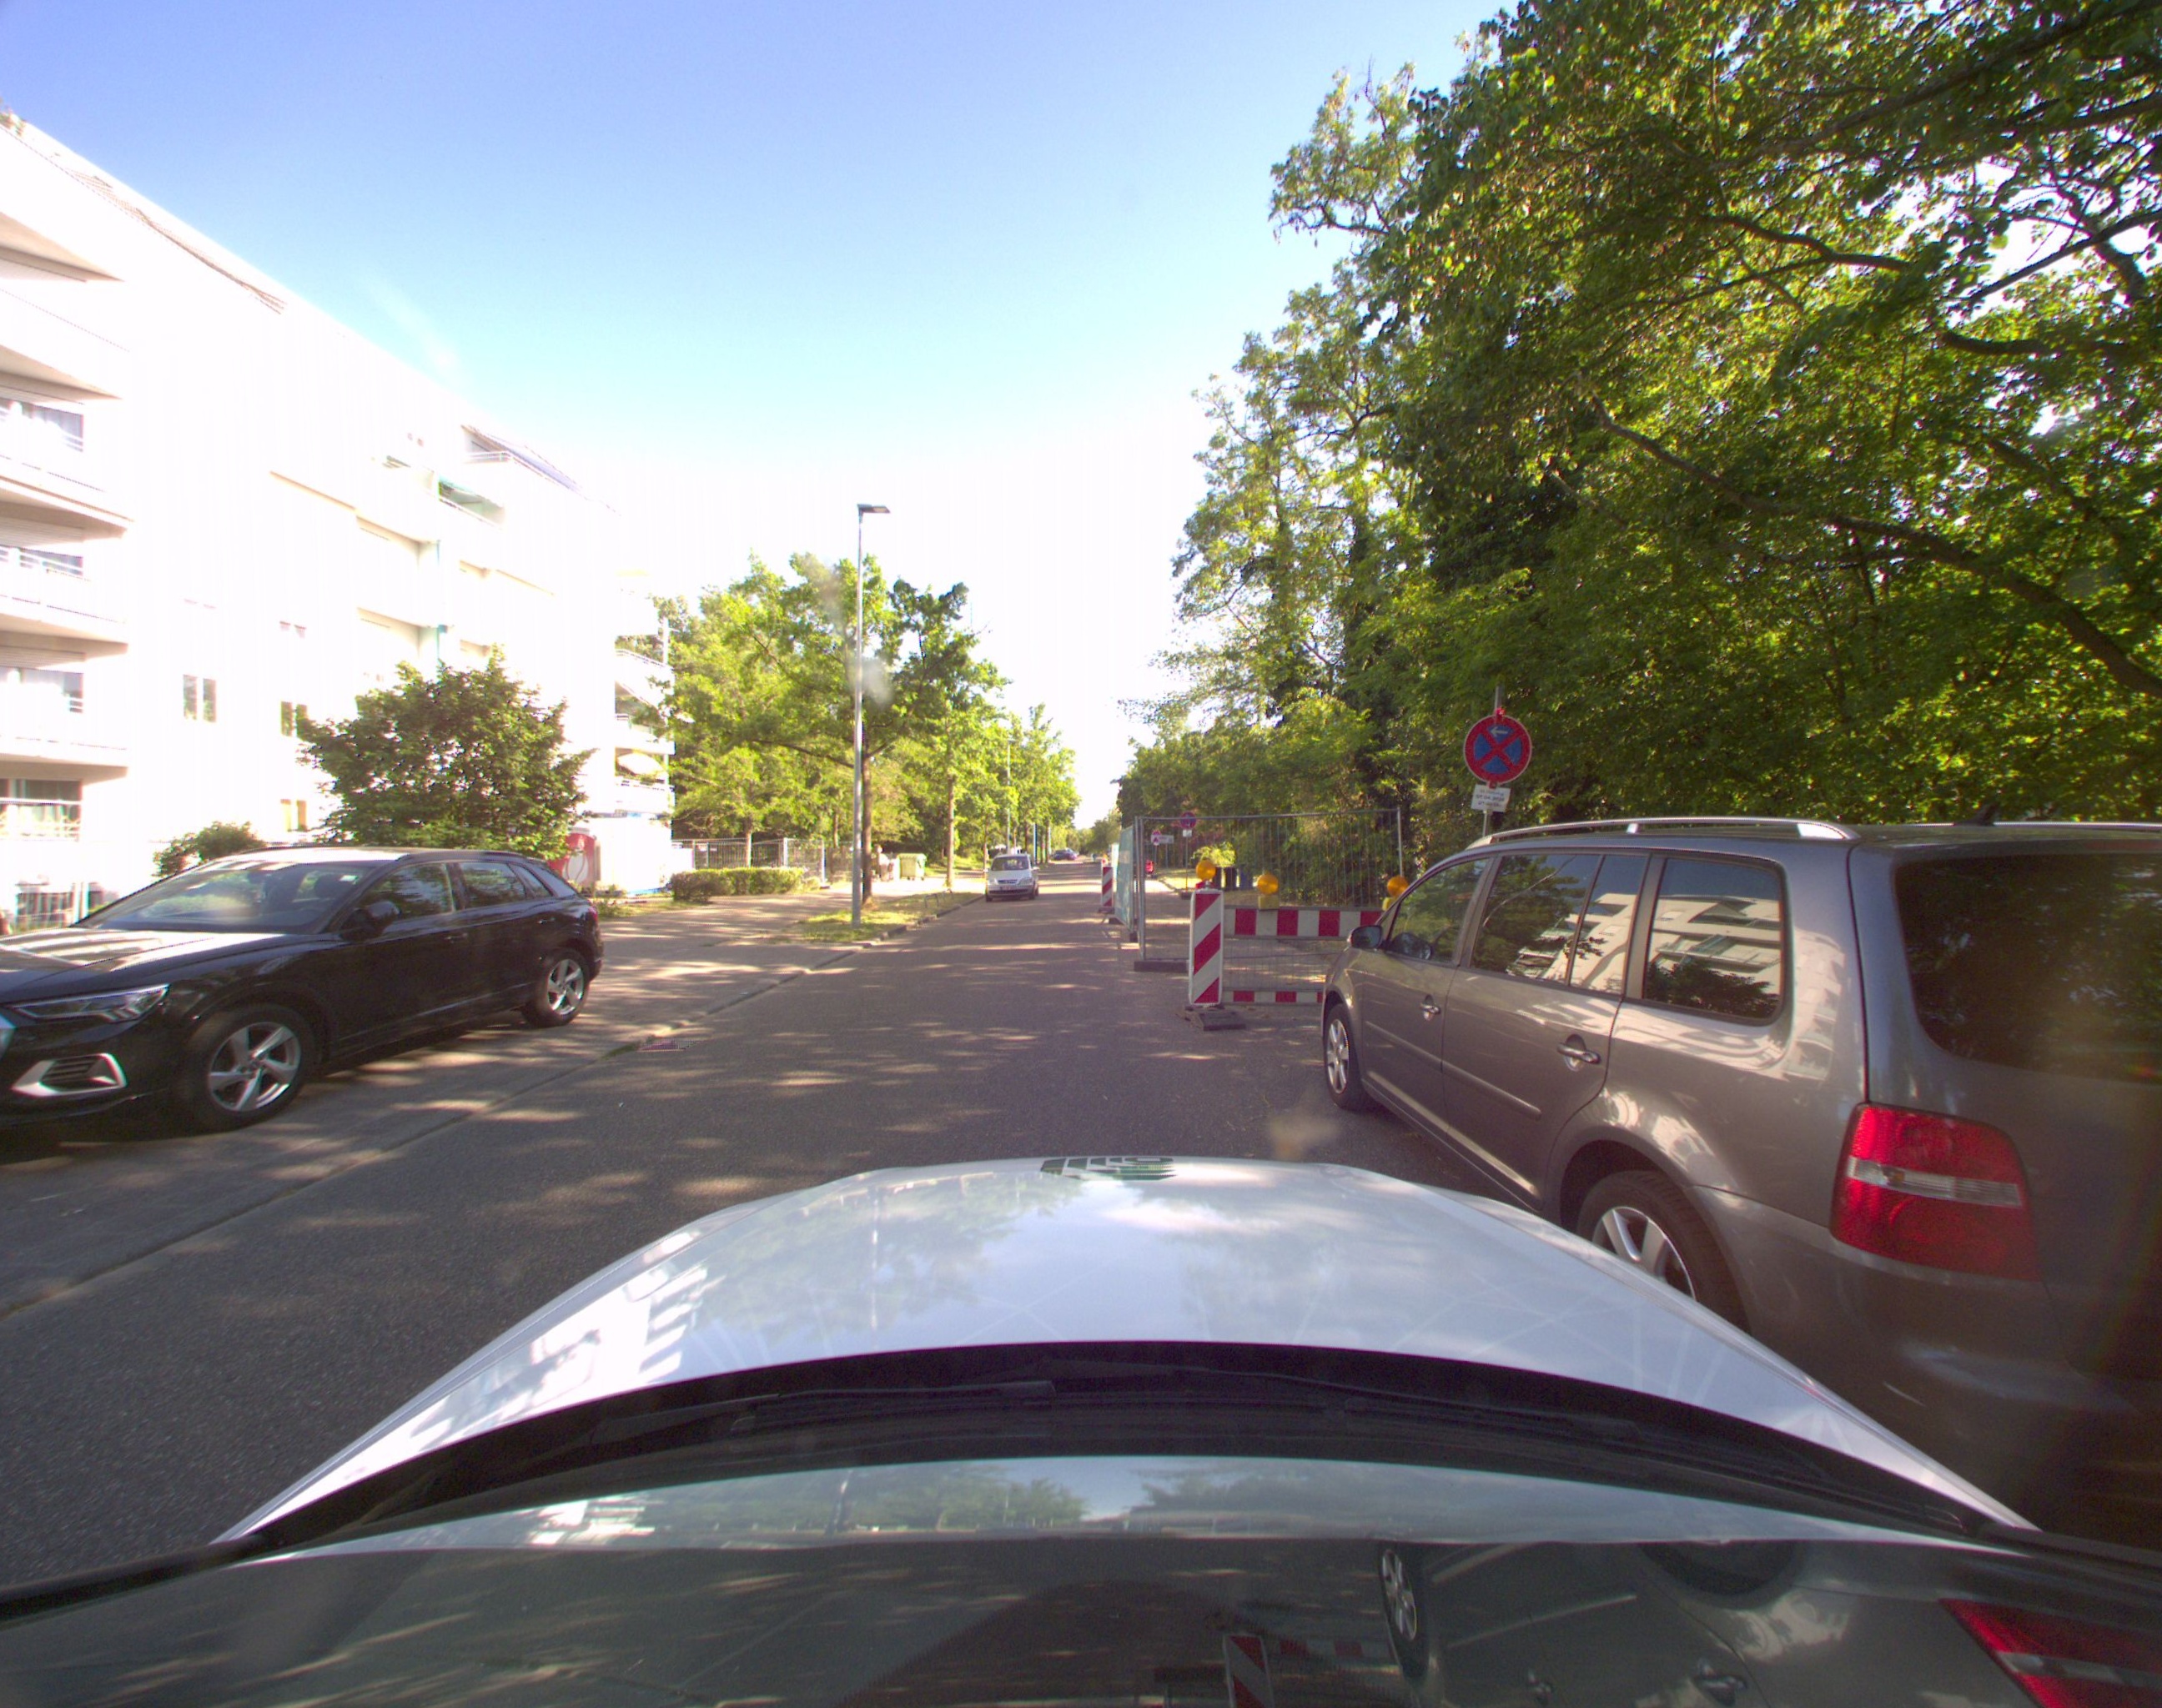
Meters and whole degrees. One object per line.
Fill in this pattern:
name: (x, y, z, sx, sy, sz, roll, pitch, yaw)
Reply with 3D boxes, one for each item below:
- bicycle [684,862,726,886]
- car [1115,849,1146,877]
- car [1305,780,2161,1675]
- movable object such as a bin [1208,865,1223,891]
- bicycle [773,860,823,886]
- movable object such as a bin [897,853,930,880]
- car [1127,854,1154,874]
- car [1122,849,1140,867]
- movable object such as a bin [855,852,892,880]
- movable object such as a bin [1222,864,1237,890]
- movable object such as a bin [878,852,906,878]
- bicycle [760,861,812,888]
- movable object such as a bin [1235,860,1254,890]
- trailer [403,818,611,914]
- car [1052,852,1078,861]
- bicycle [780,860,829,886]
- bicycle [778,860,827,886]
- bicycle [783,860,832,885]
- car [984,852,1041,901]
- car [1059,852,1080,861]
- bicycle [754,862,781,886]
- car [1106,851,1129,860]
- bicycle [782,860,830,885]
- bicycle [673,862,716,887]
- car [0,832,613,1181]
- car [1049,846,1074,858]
bicycle: (-16.289, 0.874, 35.255, 1.686, 1.027, 0.401, -1, -1, 6)
car: (3.202, 0.544, 51.956, 1.801, 1.651, 4.427, 1, 0, 5)
car: (2.373, 0.675, 3.556, 1.673, 1.621, 4.137, 0, 0, 0)
movable object such as a bin: (4.642, 0.826, 28.130, 0.411, 0.870, 0.484, -2, -1, 1)
bicycle: (-11.397, 0.764, 32.814, 1.856, 1.027, 0.399, 0, -1, -12)
movable object such as a bin: (-8.996, 0.651, 43.769, 1.259, 1.435, 1.187, -1, 0, 17)
car: (4.267, 0.674, 58.754, 1.655, 1.375, 4.155, 1, 0, 1)
car: (5.074, 0.427, 83.321, 1.617, 1.773, 3.670, 1, 0, 1)
movable object such as a bin: (-10.849, 0.610, 42.601, 1.257, 1.435, 1.334, -1, 0, 29)
movable object such as a bin: (5.132, 0.806, 28.167, 0.411, 0.870, 0.484, -2, -1, 1)
movable object such as a bin: (-10.537, 0.616, 45.379, 1.149, 1.435, 1.260, -1, 0, -33)
bicycle: (-11.550, 0.782, 31.873, 1.870, 1.027, 0.399, 0, -1, -12)
movable object such as a bin: (5.643, 0.719, 28.069, 0.517, 0.999, 0.608, -2, -1, 1)
trailer: (-14.220, 0.255, 20.549, 1.855, 2.120, 4.352, 1, 0, 5)
car: (-2.902, 0.400, 148.512, 4.294, 1.576, 2.050, 1, 0, 7)
bicycle: (-11.460, 0.774, 33.759, 1.860, 1.027, 0.399, 0, -1, -12)
bicycle: (-11.360, 0.768, 33.287, 1.839, 1.027, 0.399, 0, -1, -12)
bicycle: (-11.613, 0.781, 34.648, 1.916, 1.027, 0.399, 0, -1, -12)
car: (-2.377, 0.737, 29.087, 1.654, 1.596, 4.007, -1, 0, -1)
car: (-2.382, 0.485, 164.815, 4.090, 1.576, 1.960, 1, 0, 3)
bicycle: (-13.701, 0.873, 35.638, 0.397, 1.027, 1.702, -1, -1, 3)
car: (6.443, 0.308, 143.899, 3.817, 1.576, 1.692, 1, 0, 7)
bicycle: (-11.525, 0.775, 34.182, 1.839, 1.027, 0.399, 0, -1, -12)
bicycle: (-16.411, 0.875, 34.581, 1.686, 1.027, 0.401, -1, -1, 6)
car: (-5.559, 0.696, 5.926, 1.769, 1.621, 4.221, 1, 0, 1)
car: (-4.142, -0.444, 173.782, 5.189, 2.621, 2.290, 1, 0, -4)
